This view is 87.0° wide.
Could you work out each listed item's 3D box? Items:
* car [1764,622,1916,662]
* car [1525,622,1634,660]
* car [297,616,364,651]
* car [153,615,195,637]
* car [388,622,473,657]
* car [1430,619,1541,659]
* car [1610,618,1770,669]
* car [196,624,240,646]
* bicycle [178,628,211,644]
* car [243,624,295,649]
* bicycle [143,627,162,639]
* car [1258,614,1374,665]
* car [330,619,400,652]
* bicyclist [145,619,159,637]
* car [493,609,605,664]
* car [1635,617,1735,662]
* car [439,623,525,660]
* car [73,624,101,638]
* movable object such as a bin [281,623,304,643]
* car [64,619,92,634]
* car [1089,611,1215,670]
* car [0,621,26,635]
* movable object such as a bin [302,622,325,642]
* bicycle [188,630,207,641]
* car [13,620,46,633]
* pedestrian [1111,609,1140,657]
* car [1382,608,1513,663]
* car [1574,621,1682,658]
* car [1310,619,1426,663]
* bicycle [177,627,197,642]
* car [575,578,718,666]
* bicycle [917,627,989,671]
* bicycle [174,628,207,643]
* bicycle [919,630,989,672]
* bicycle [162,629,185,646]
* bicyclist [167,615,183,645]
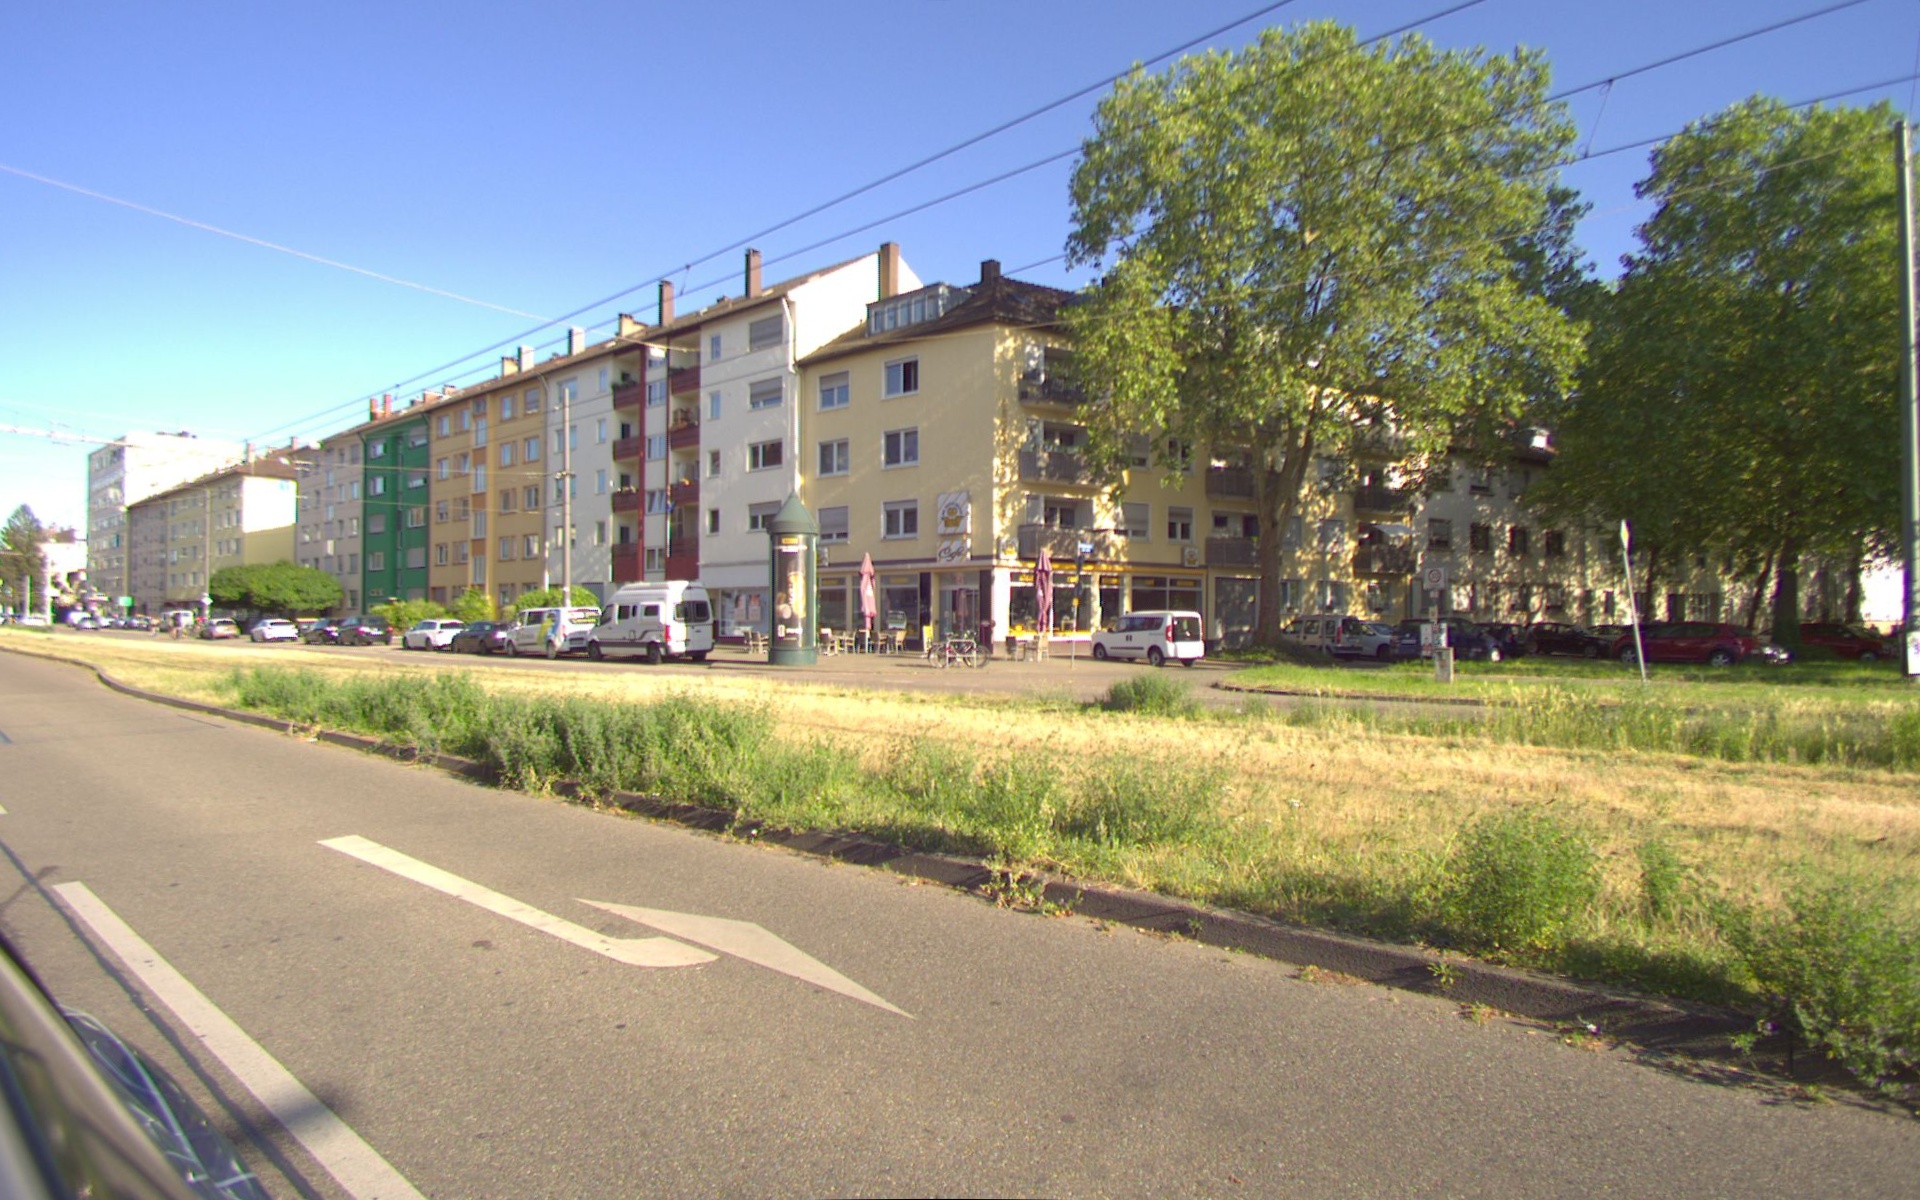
[{"bbox_3d":[32.912,1.558,37.975,1.559,1.392,4.011,1,-2,-33],"label":"car"},{"bbox_3d":[30.052,1.980,49.207,1.966,1.677,4.074,2,-1,-29],"label":"car"},{"bbox_3d":[-36.082,1.884,57.943,4.606,1.851,1.973,-1,1,41],"label":"car"},{"bbox_3d":[-77.673,2.560,99.981,5.492,1.964,1.975,-1,1,38],"label":"car"},{"bbox_3d":[-25.260,1.845,48.251,4.698,1.503,1.874,-1,0,39],"label":"car"},{"bbox_3d":[23.437,1.730,45.250,1.850,1.626,4.012,3,-2,-29],"label":"car"},{"bbox_3d":[22.611,1.297,31.471,1.618,1.391,3.659,-2,1,-32],"label":"car"},{"bbox_3d":[-53.693,2.501,73.230,3.730,1.453,1.620,-1,1,39],"label":"car"},{"bbox_3d":[-59.844,2.801,79.115,2.024,1.101,0.616,-2,1,-44],"label":"bicycle"},{"bbox_3d":[-44.234,2.321,64.737,4.374,1.465,1.711,-1,-1,41],"label":"car"},{"bbox_3d":[-63.823,2.609,79.994,2.068,0.886,0.760,-1,-3,41],"label":"bicycle"},{"bbox_3d":[14.105,1.531,40.299,1.966,1.857,4.012,3,-2,-29],"label":"car"},{"bbox_3d":[-32.037,1.882,54.477,4.148,1.620,1.973,-1,1,41],"label":"car"},{"bbox_3d":[-63.895,2.240,80.036,0.648,1.394,0.765,-1,-2,41],"label":"bicyclist"},{"bbox_3d":[-16.646,1.432,40.869,5.369,2.036,2.011,-1,1,42],"label":"car"},{"bbox_3d":[28.655,1.526,39.963,3.932,1.697,1.755,1,-2,-31],"label":"car"},{"bbox_3d":[-21.065,1.791,44.528,4.320,1.526,1.678,-1,-1,38],"label":"car"},{"bbox_3d":[-91.335,3.249,105.873,4.215,1.459,1.676,-1,-3,42],"label":"car"},{"bbox_3d":[-48.186,2.375,73.047,1.039,1.378,1.134,-1,1,43],"label":"movable object such as a bin"},{"bbox_3d":[-117.193,3.493,134.462,4.664,1.912,1.974,-1,1,39],"label":"car"},{"bbox_3d":[6.542,1.326,34.859,1.967,1.840,4.010,-2,1,-35],"label":"car"},{"bbox_3d":[-110.063,3.233,117.248,4.406,1.540,1.767,-1,-3,36],"label":"car"},{"bbox_3d":[-47.300,2.337,74.041,1.039,1.378,1.134,-1,1,43],"label":"movable object such as a bin"},{"bbox_3d":[-58.403,2.720,77.472,2.046,0.872,0.374,-1,1,30],"label":"bicycle"},{"bbox_3d":[-103.958,2.962,113.029,4.404,1.395,1.818,-1,-3,35],"label":"car"},{"bbox_3d":[6.329,1.256,38.759,0.827,1.798,0.689,-2,1,-38],"label":"pedestrian"},{"bbox_3d":[15.174,1.099,31.471,3.932,1.613,1.755,1,-2,-31],"label":"car"},{"bbox_3d":[33.299,1.956,50.537,1.966,1.677,4.074,2,-1,-29],"label":"car"},{"bbox_3d":[16.730,1.658,41.676,1.966,1.677,4.074,2,-1,-29],"label":"car"},{"bbox_3d":[-58.709,2.595,76.859,1.928,1.101,0.506,-1,1,29],"label":"bicycle"},{"bbox_3d":[-11.378,0.766,36.431,6.226,2.890,2.011,-1,0,42],"label":"car"},{"bbox_3d":[-0.209,1.447,29.808,2.065,1.261,0.518,0,1,7],"label":"bicycle"},{"bbox_3d":[-61.427,2.833,80.814,2.024,1.101,0.616,-2,1,-44],"label":"bicycle"},{"bbox_3d":[-0.182,1.515,30.362,2.065,1.193,0.518,0,1,7],"label":"bicycle"},{"bbox_3d":[-55.170,2.605,70.978,2.473,1.155,0.760,-1,-4,41],"label":"bicycle"},{"bbox_3d":[-55.133,2.105,71.090,0.648,2.029,0.765,-1,1,41],"label":"bicyclist"}]
